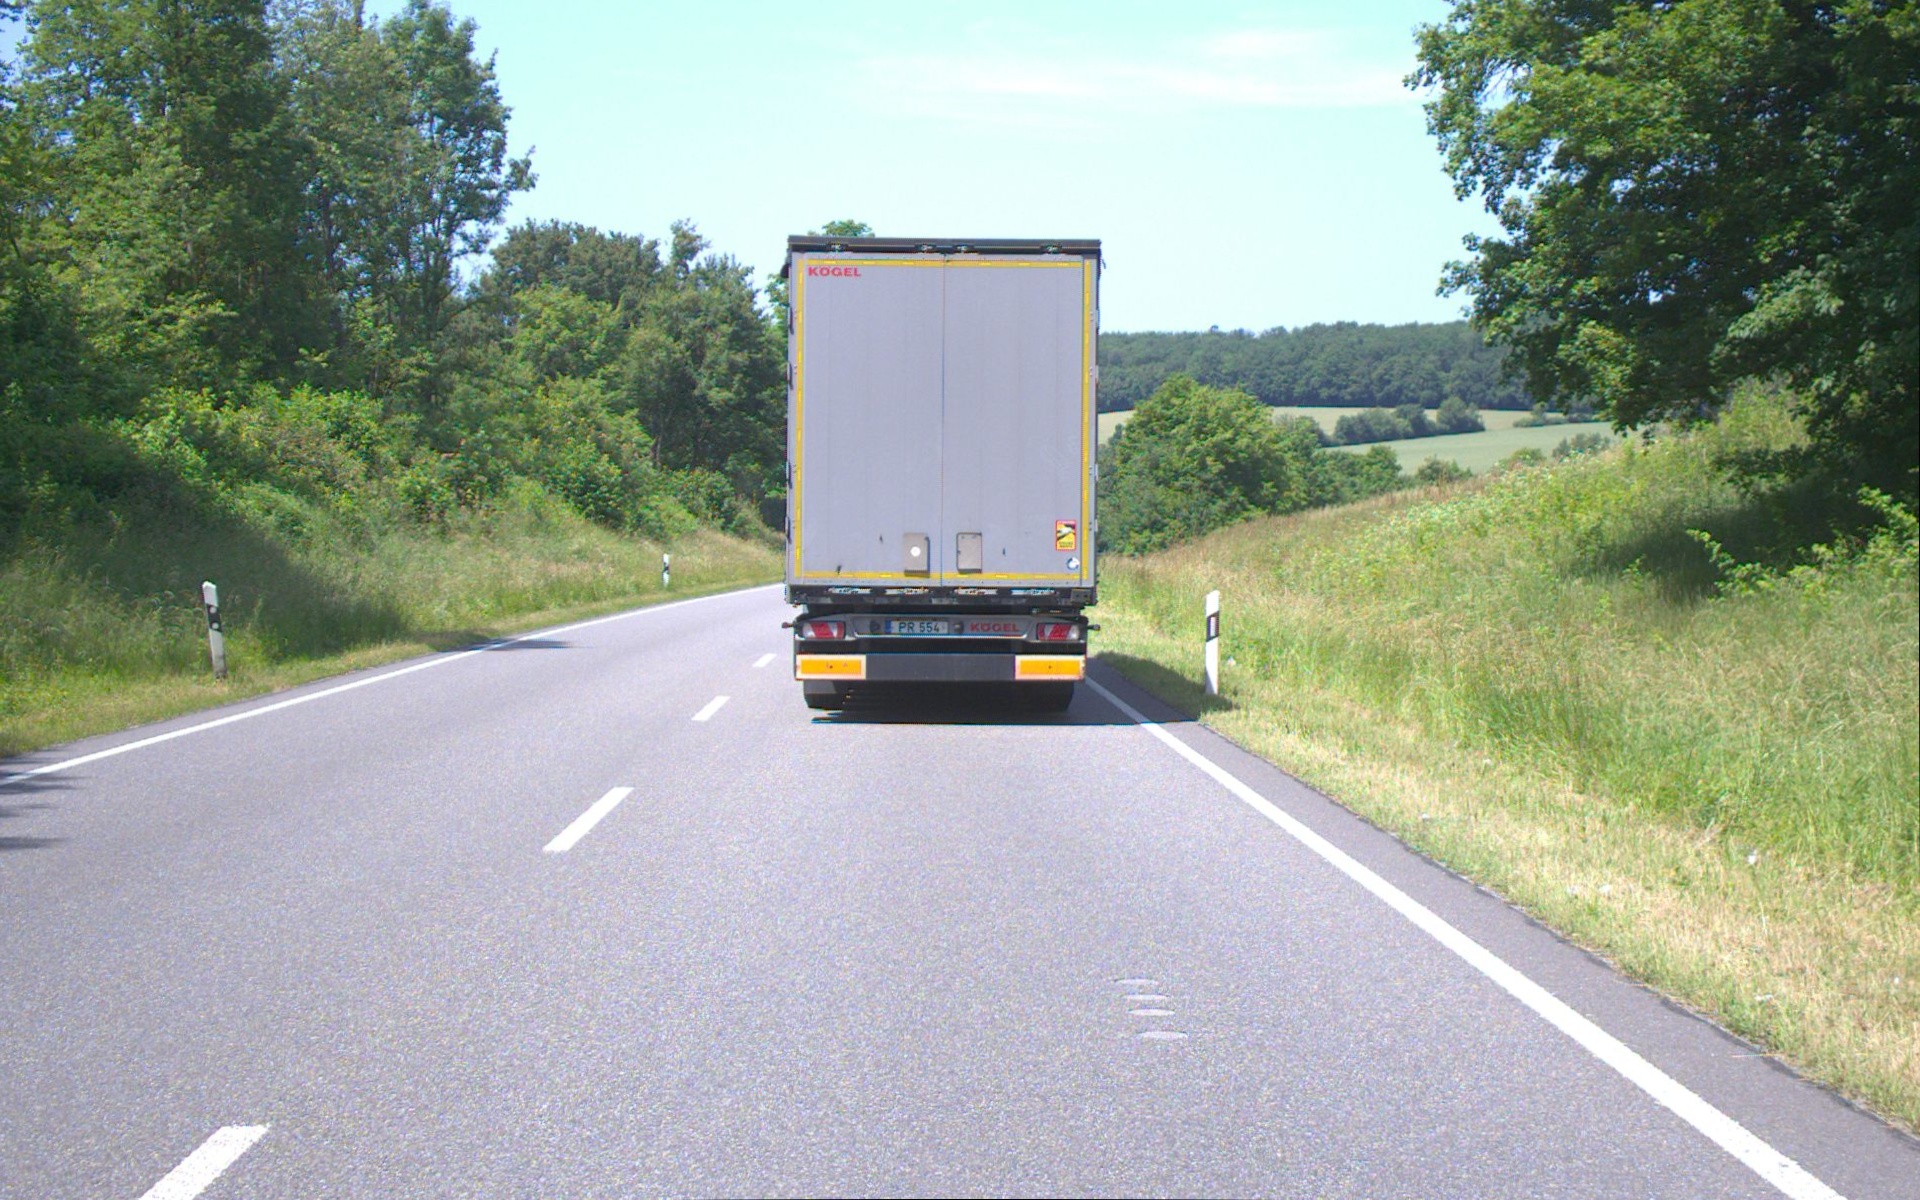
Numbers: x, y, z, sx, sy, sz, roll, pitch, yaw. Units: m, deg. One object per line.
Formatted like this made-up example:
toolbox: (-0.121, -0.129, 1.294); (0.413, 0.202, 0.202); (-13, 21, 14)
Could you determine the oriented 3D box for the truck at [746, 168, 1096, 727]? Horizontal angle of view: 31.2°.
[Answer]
truck: (-0.378, -1.356, 33.817); (2.817, 4.517, 11.769); (0, 1, -1)
